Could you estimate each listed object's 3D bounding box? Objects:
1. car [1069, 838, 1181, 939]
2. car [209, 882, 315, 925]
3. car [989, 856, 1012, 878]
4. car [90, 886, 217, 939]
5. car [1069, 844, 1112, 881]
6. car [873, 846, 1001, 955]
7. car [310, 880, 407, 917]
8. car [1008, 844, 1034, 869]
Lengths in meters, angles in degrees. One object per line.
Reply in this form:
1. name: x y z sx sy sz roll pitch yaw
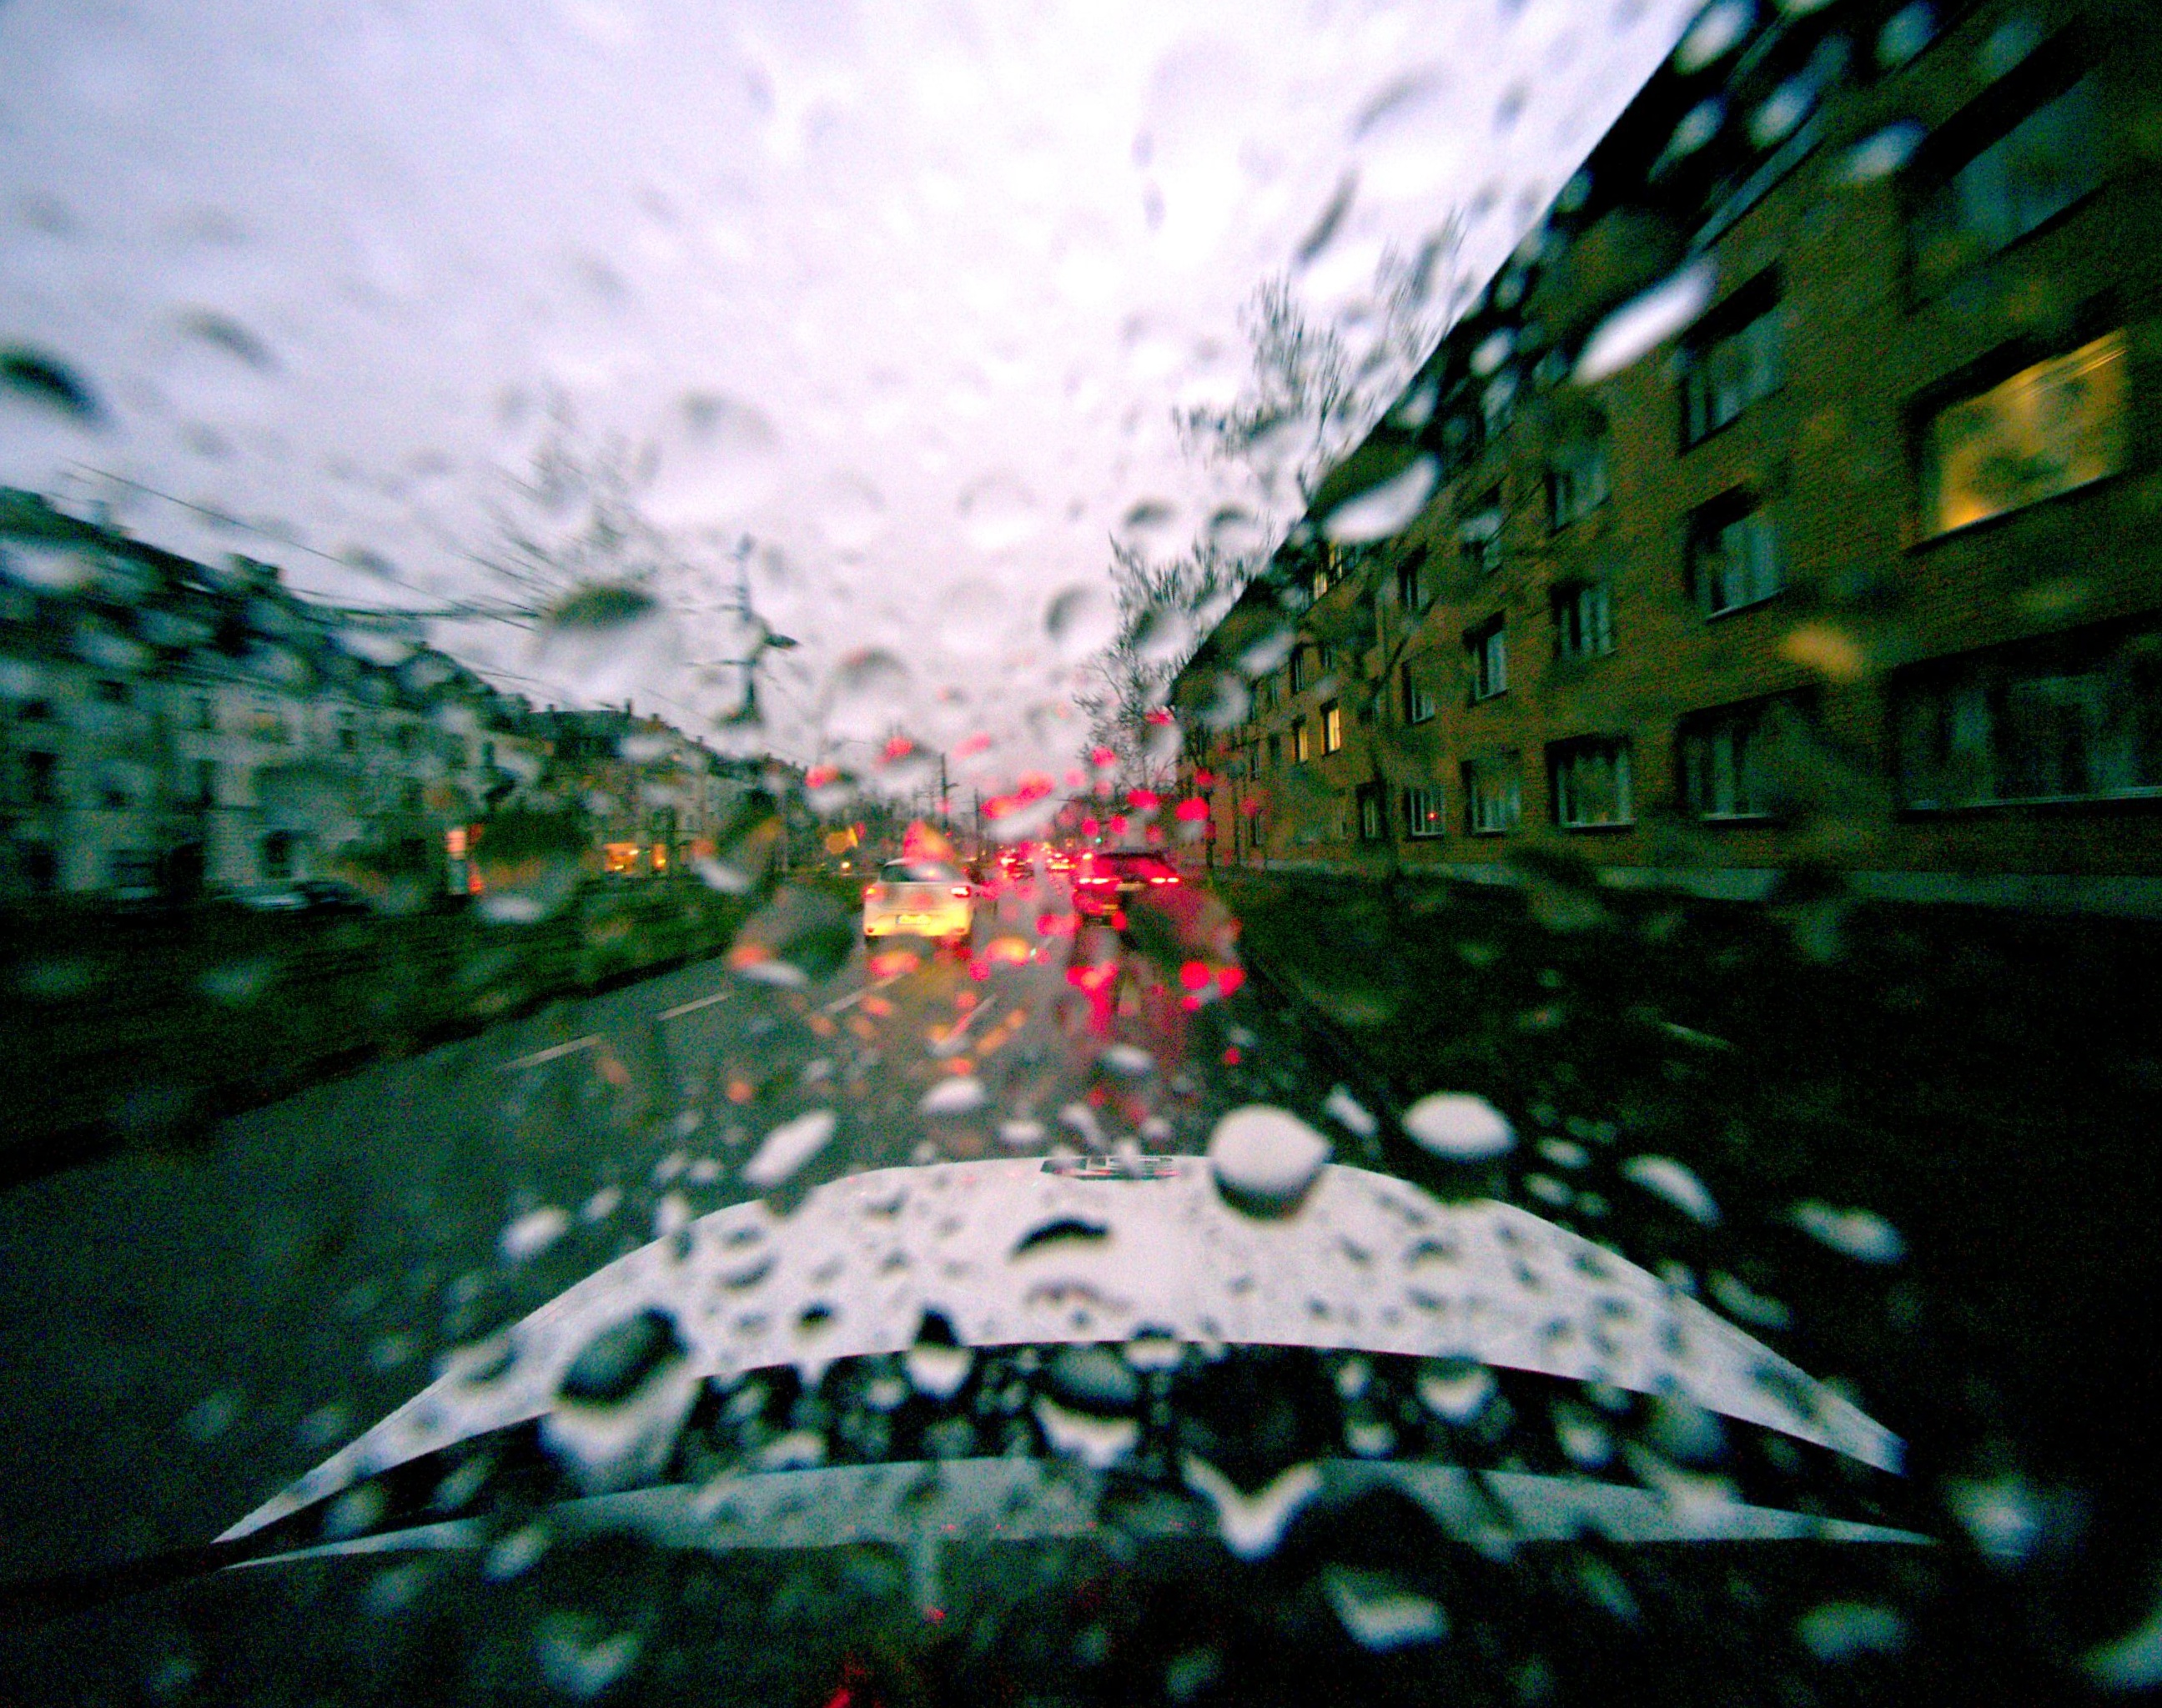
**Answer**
1. car: 0.686 0.559 15.211 1.668 1.600 4.049 -1 0 -3
2. car: -29.918 1.790 29.733 3.948 1.332 2.013 -3 0 34
3. car: -7.959 1.270 80.677 1.988 2.013 3.997 -2 0 -2
4. car: -30.307 1.876 26.607 3.948 1.486 2.013 -3 0 31
5. car: 0.456 0.431 42.685 1.989 1.744 3.996 -2 0 -3
6. car: -2.357 0.691 14.239 1.668 1.600 4.049 -1 0 -3
7. car: -29.540 1.807 33.286 3.948 1.332 2.013 -3 0 34
8. car: -4.123 0.161 56.194 1.668 1.600 4.049 -1 0 -3
